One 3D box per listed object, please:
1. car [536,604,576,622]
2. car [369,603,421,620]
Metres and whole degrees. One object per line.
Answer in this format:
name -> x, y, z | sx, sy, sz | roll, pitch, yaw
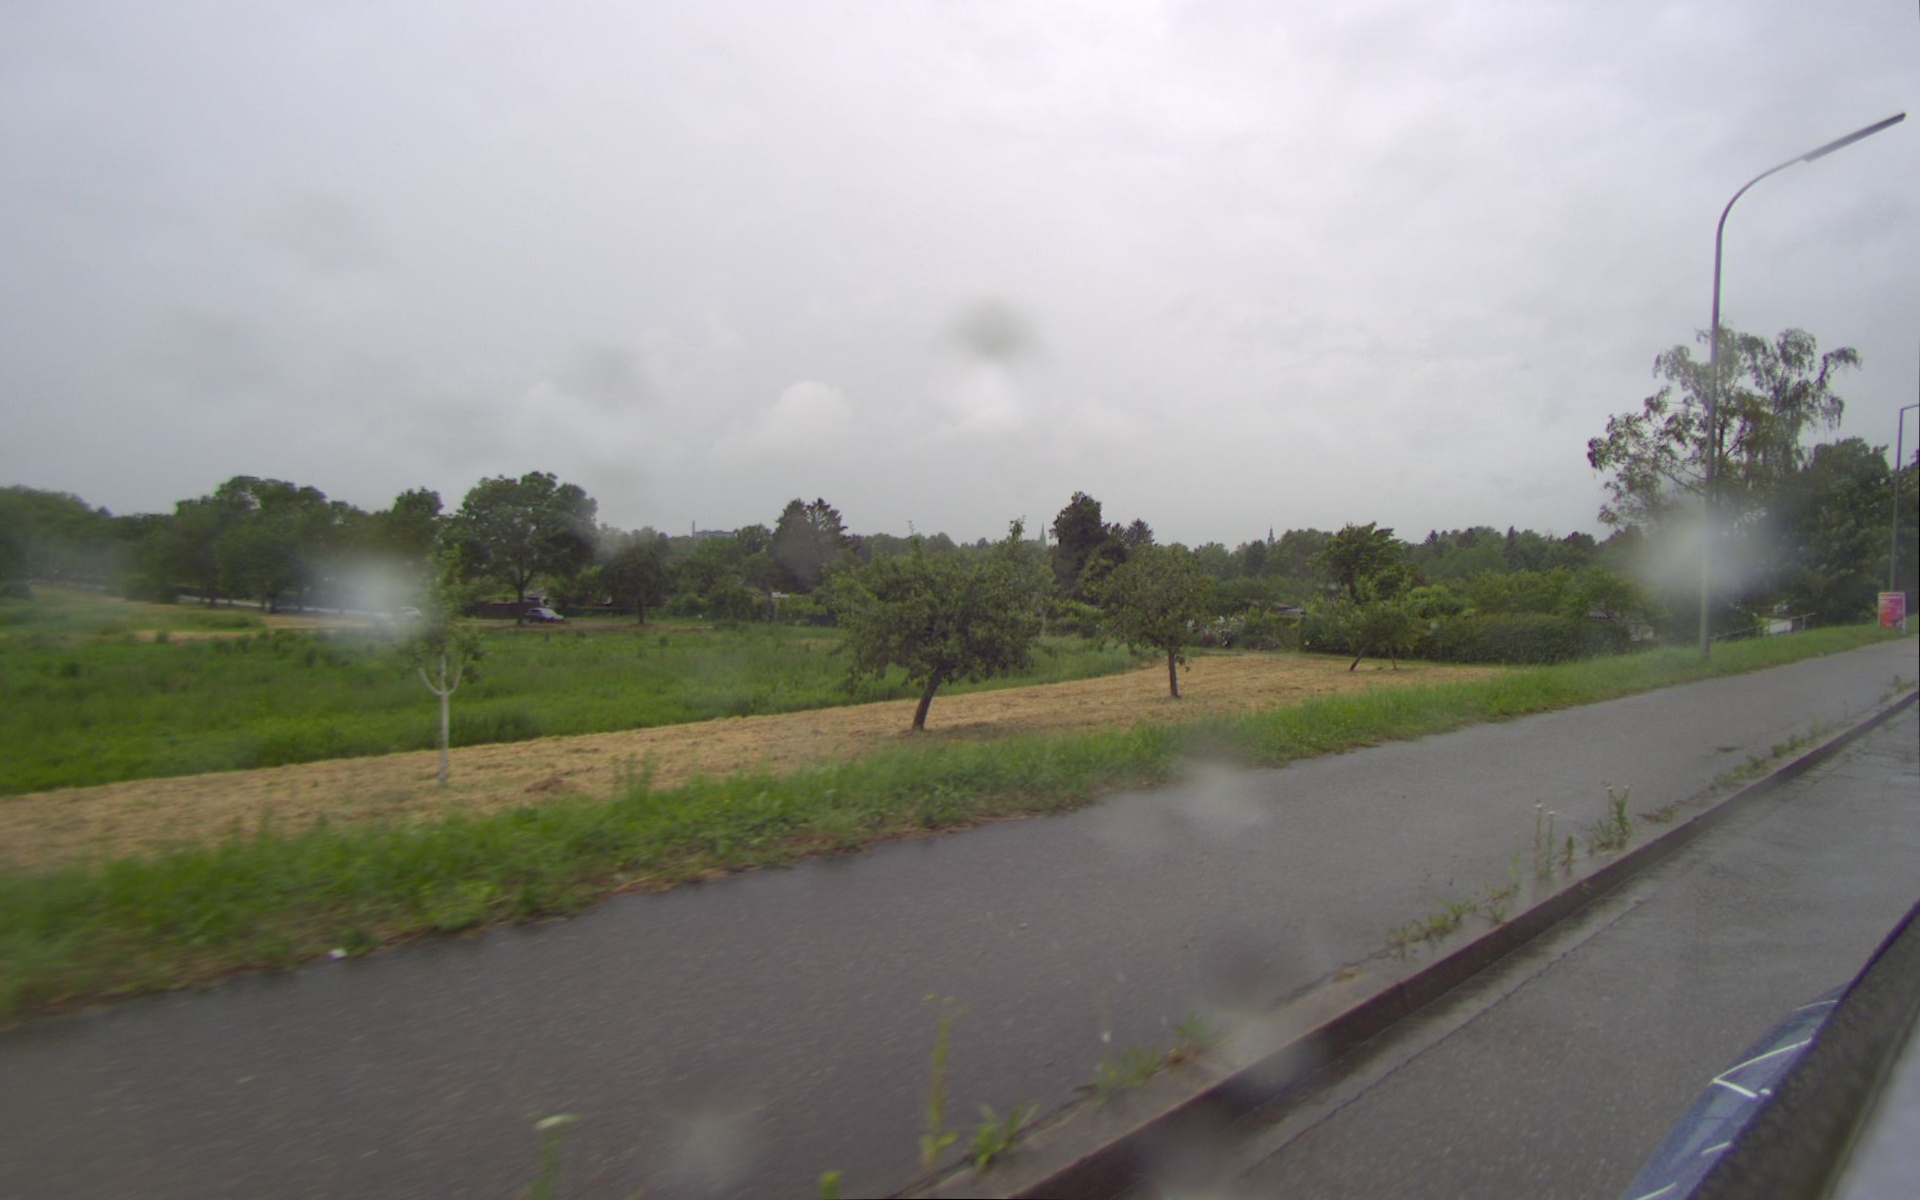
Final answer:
car -> -35.777, 1.137, 89.598 | 3.984, 1.529, 1.773 | 1, 1, 42
car -> -54.627, 1.107, 97.869 | 1.785, 1.529, 4.121 | -1, 0, 30
